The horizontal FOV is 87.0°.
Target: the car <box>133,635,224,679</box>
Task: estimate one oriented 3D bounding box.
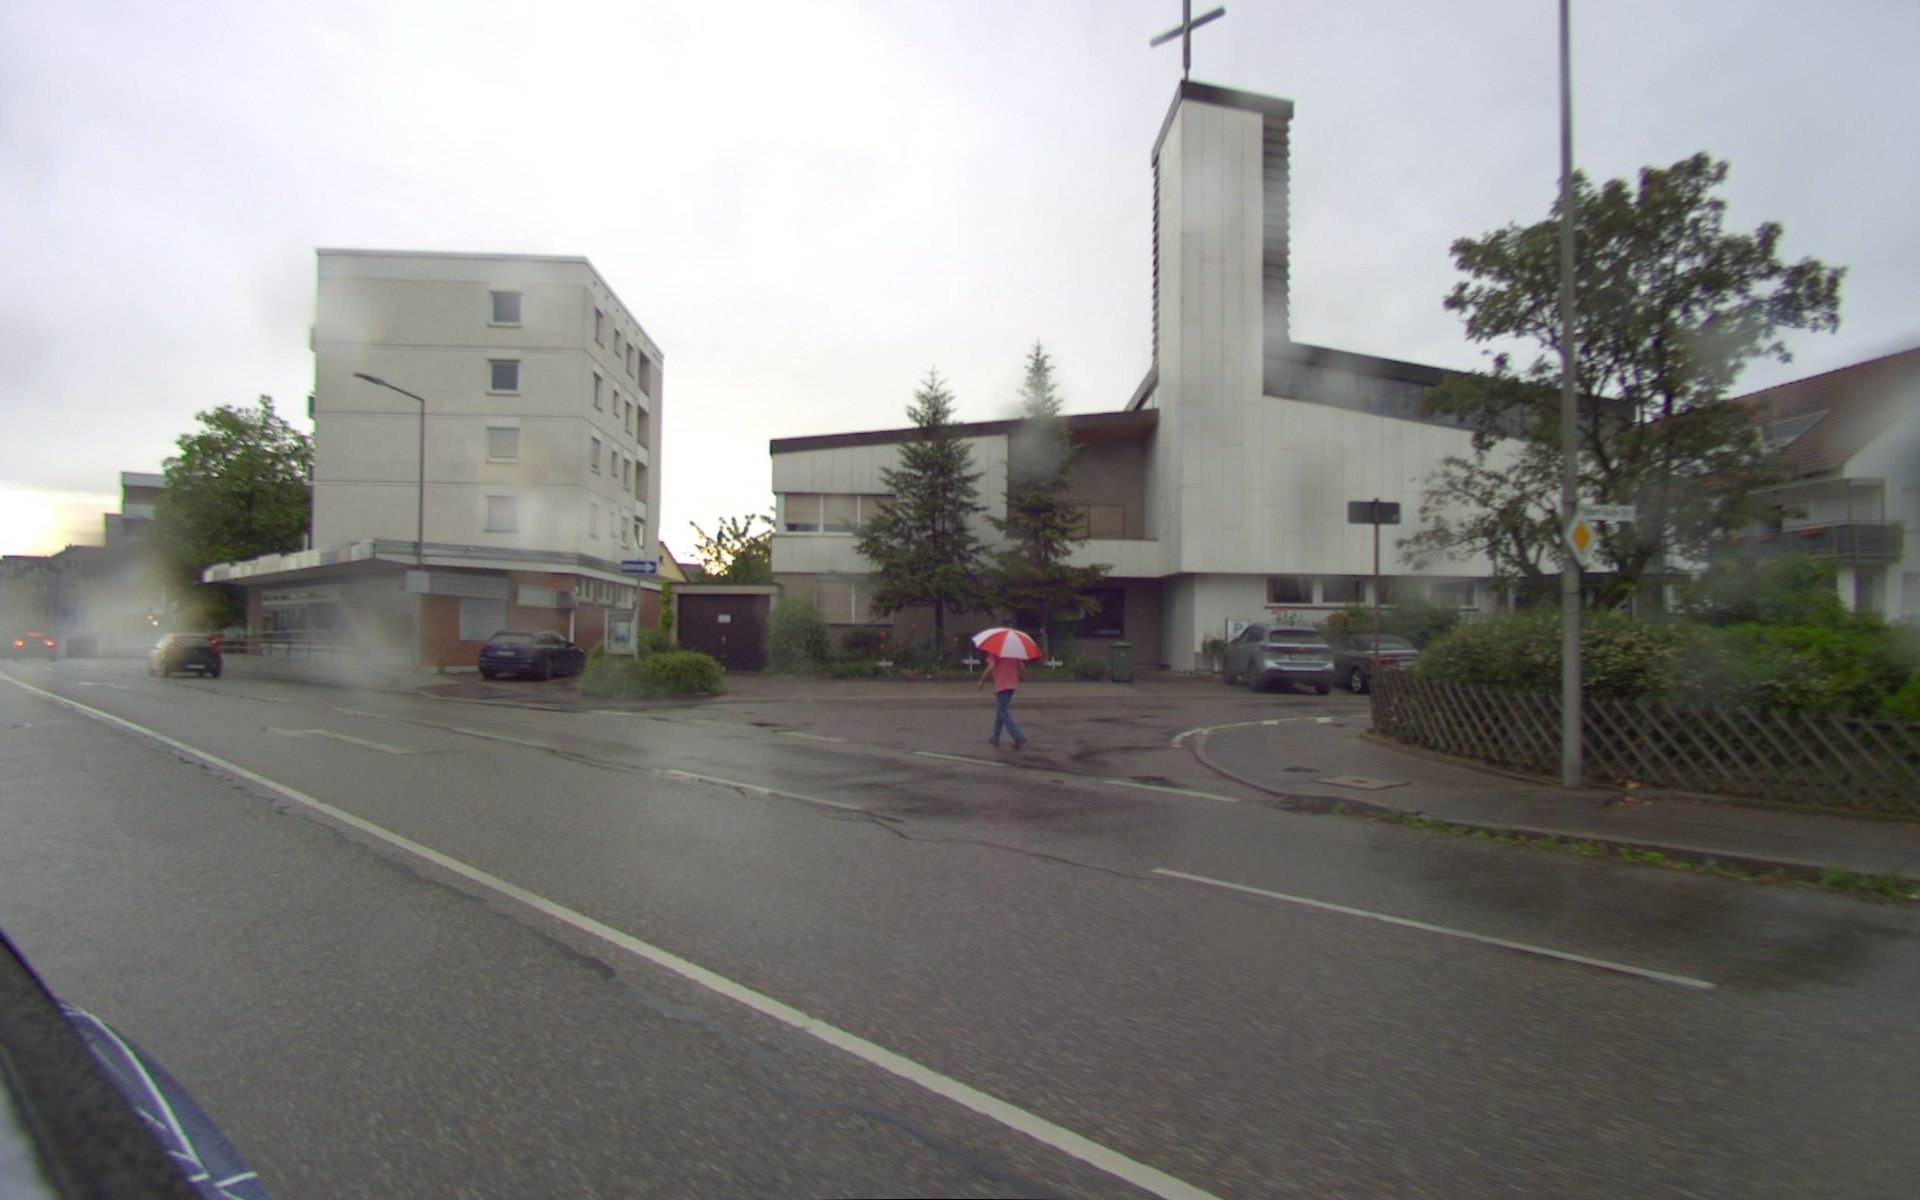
[{"bbox_3d":[-26.869,1.980,34.768,3.998,1.420,1.680,-3,-6,41],"label":"car"}]

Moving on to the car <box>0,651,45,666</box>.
[{"bbox_3d":[-99.753,6.210,106.887,4.558,1.508,1.930,2,-4,-45],"label":"car"}]

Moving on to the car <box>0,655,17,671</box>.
[{"bbox_3d":[-104.771,6.822,108.210,5.389,1.697,2.153,0,-3,-13],"label":"car"}]

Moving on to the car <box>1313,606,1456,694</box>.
[{"bbox_3d":[10.542,1.247,25.504,1.973,2.029,3.997,0,-2,2],"label":"car"}]

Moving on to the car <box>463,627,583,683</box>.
[{"bbox_3d":[-13.069,1.615,30.578,1.970,1.558,4.475,0,-2,-5],"label":"car"}]

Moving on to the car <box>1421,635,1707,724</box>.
[{"bbox_3d":[10.496,1.352,17.776,3.942,1.458,1.788,0,-2,-3],"label":"car"}]

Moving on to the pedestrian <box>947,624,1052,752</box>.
[{"bbox_3d":[0.533,1.144,13.599,1.101,1.619,0.861,0,-2,37],"label":"pedestrian"}]

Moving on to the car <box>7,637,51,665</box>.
[{"bbox_3d":[-54.300,2.987,59.044,1.781,1.569,4.322,1,-4,-43],"label":"car"}]

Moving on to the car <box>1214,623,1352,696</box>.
[{"bbox_3d":[7.800,1.406,24.921,2.104,1.627,4.383,0,-2,2],"label":"car"}]
